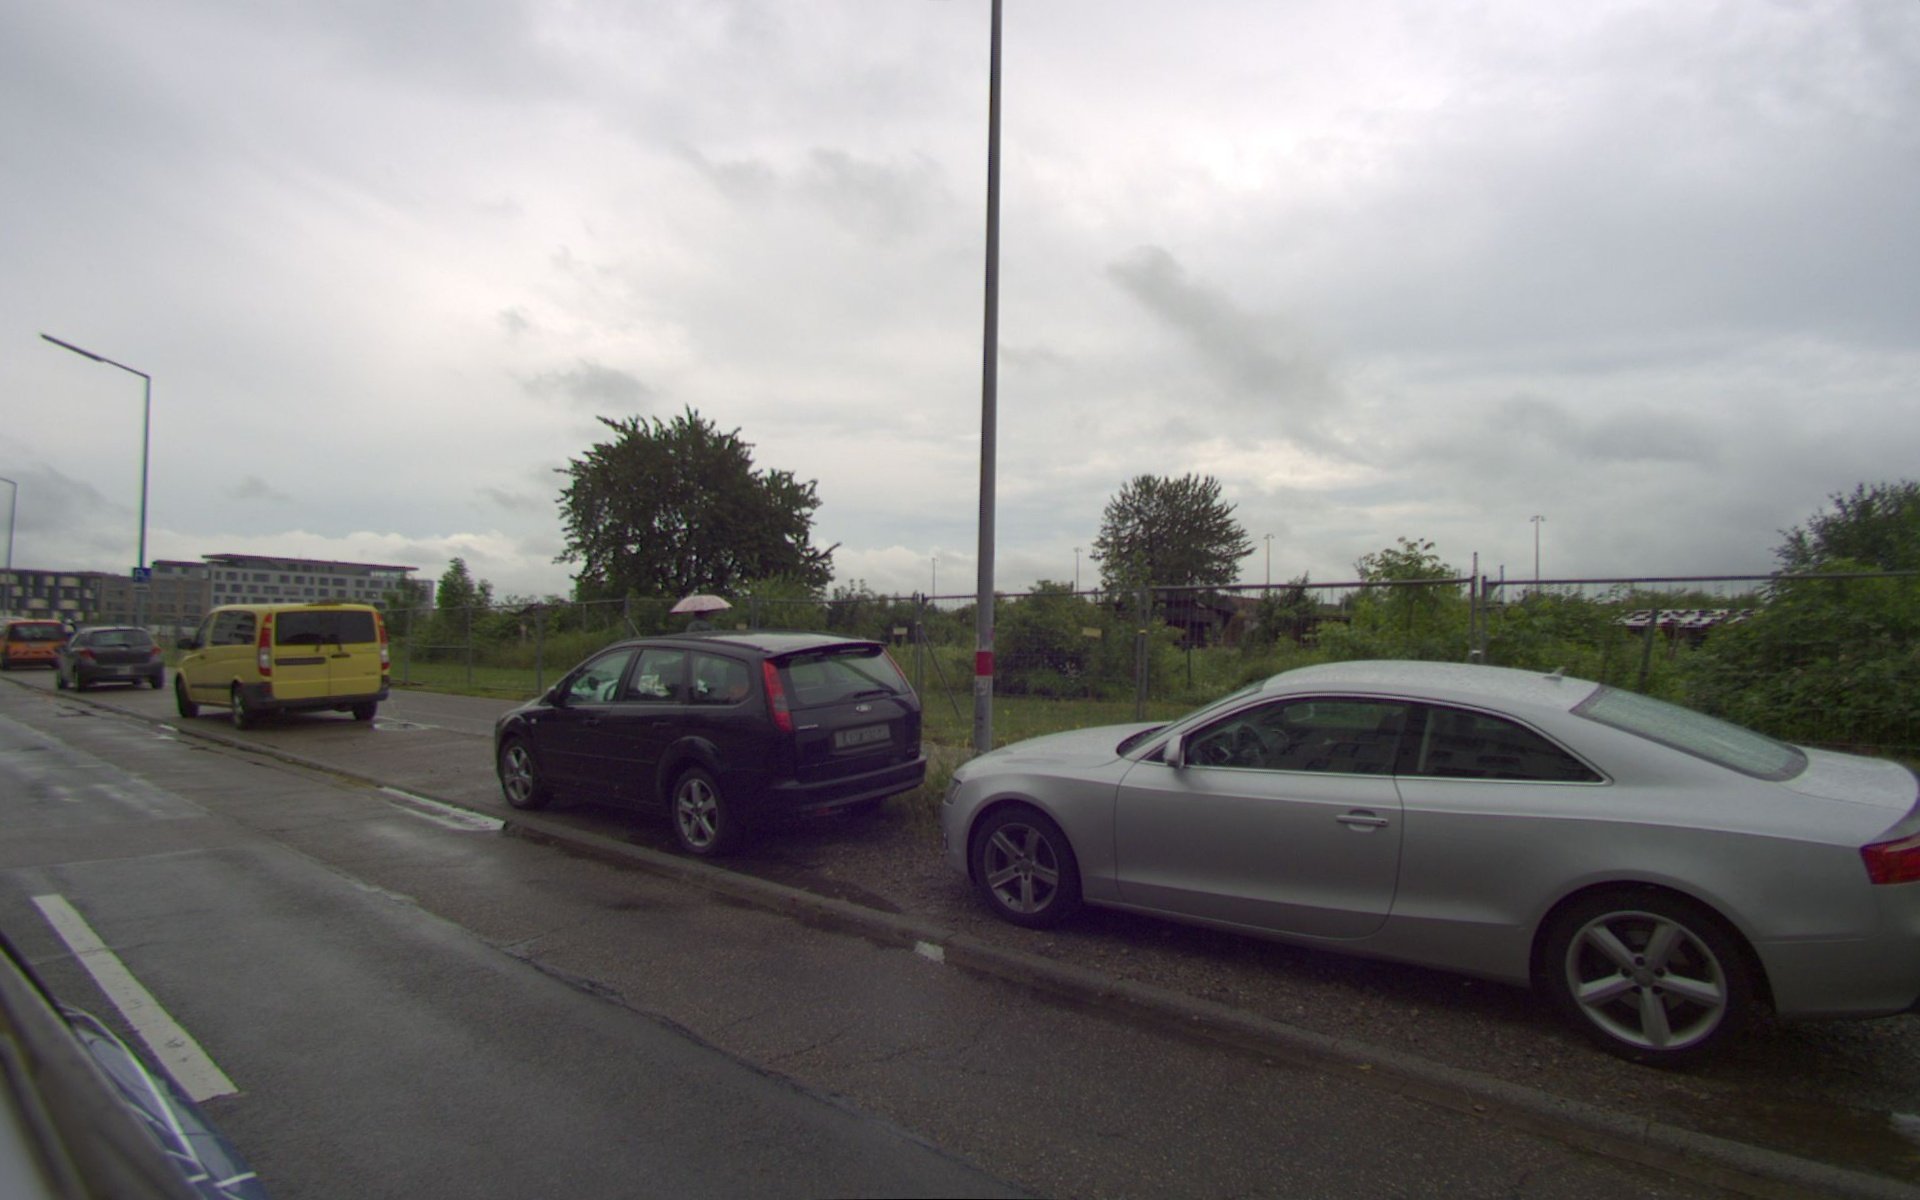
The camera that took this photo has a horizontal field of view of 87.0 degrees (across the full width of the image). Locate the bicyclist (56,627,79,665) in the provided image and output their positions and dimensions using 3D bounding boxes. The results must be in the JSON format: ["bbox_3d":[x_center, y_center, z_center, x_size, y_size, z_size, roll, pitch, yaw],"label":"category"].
[{"bbox_3d":[-43.865,2.272,49.756,1.008,1.844,0.691,-2,-3,41],"label":"bicyclist"}]

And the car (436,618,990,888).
[{"bbox_3d":[-2.323,0.978,8.543,5.013,1.606,1.973,-1,-1,40],"label":"car"}]

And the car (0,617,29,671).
[{"bbox_3d":[-42.752,1.933,44.565,5.554,2.253,1.922,-2,-4,41],"label":"car"}]

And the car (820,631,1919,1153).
[{"bbox_3d":[1.820,0.934,5.185,5.336,1.445,1.990,-1,0,41],"label":"car"}]

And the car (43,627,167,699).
[{"bbox_3d":[-21.140,1.508,24.971,4.031,1.573,1.785,-2,-1,41],"label":"car"}]

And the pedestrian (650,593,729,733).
[{"bbox_3d":[-4.097,0.935,15.335,0.980,2.029,0.734,-2,-3,42],"label":"pedestrian"}]

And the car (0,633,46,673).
[{"bbox_3d":[-37.502,2.060,39.831,4.889,1.513,1.666,-2,-3,41],"label":"car"}]

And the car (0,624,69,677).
[{"bbox_3d":[-33.486,1.781,36.219,4.331,1.781,1.919,-2,-3,43],"label":"car"}]

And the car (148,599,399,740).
[{"bbox_3d":[-11.638,1.025,16.934,6.061,1.971,1.996,-1,-1,41],"label":"car"}]
